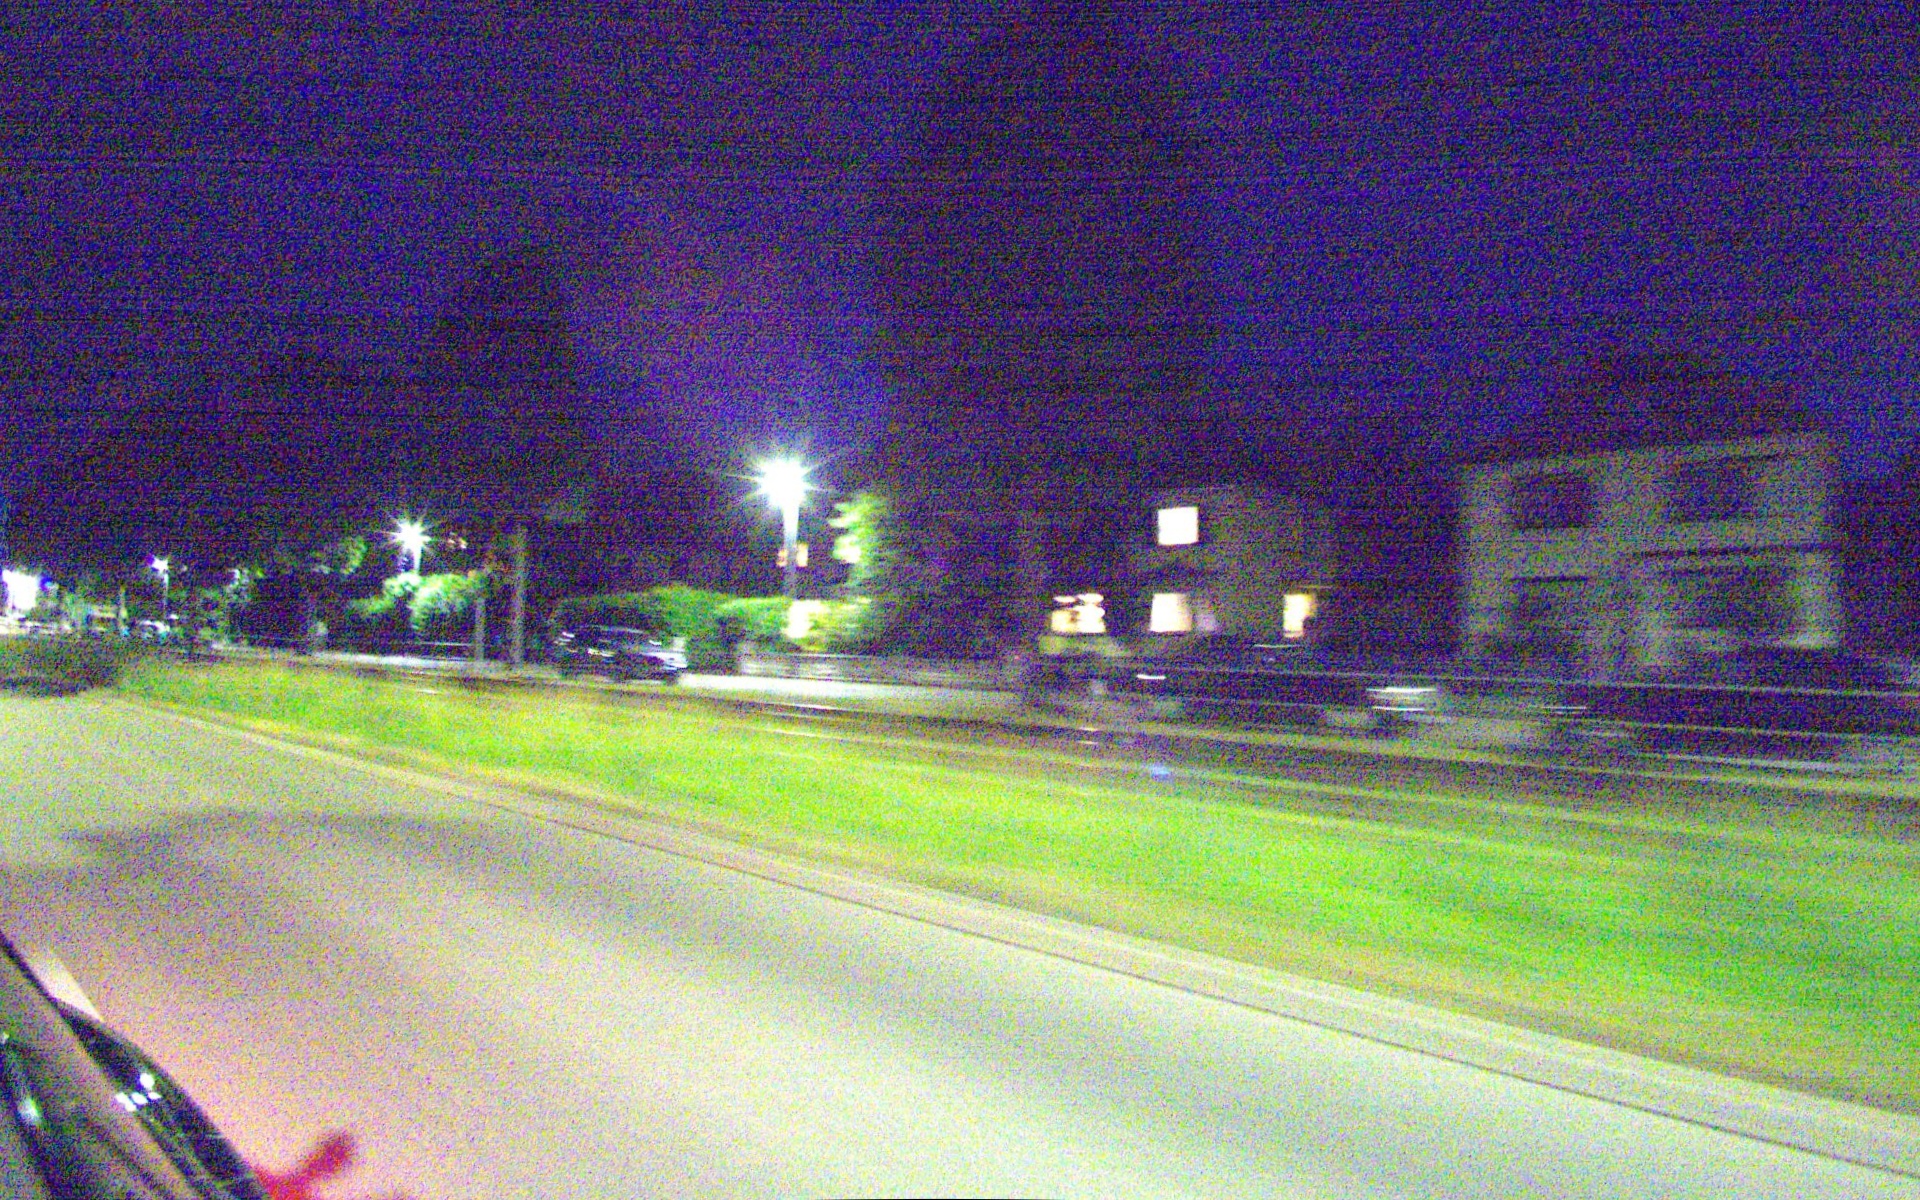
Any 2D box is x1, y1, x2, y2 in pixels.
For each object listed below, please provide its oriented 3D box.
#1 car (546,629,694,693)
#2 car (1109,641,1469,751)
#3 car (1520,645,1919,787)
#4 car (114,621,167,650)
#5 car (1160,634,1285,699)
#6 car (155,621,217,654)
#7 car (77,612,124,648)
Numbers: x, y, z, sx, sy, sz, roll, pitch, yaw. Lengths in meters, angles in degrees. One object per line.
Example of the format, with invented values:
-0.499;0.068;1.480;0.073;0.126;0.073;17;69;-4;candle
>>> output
-9.671;1.709;28.586;4.691;1.580;1.745;-2;-7;41;car
4.909;1.401;15.644;4.985;1.375;1.879;-1;-5;44;car
9.139;1.297;11.972;4.144;1.375;1.710;-1;-5;41;car
-55.959;2.426;69.063;4.721;1.784;2.096;-1;-5;44;car
7.284;1.753;27.887;1.887;1.554;3.948;-1;-1;39;car
-46.244;2.236;60.442;4.721;1.784;2.096;-1;-5;44;car
-66.300;2.315;78.026;4.721;2.532;2.135;-1;-5;44;car
